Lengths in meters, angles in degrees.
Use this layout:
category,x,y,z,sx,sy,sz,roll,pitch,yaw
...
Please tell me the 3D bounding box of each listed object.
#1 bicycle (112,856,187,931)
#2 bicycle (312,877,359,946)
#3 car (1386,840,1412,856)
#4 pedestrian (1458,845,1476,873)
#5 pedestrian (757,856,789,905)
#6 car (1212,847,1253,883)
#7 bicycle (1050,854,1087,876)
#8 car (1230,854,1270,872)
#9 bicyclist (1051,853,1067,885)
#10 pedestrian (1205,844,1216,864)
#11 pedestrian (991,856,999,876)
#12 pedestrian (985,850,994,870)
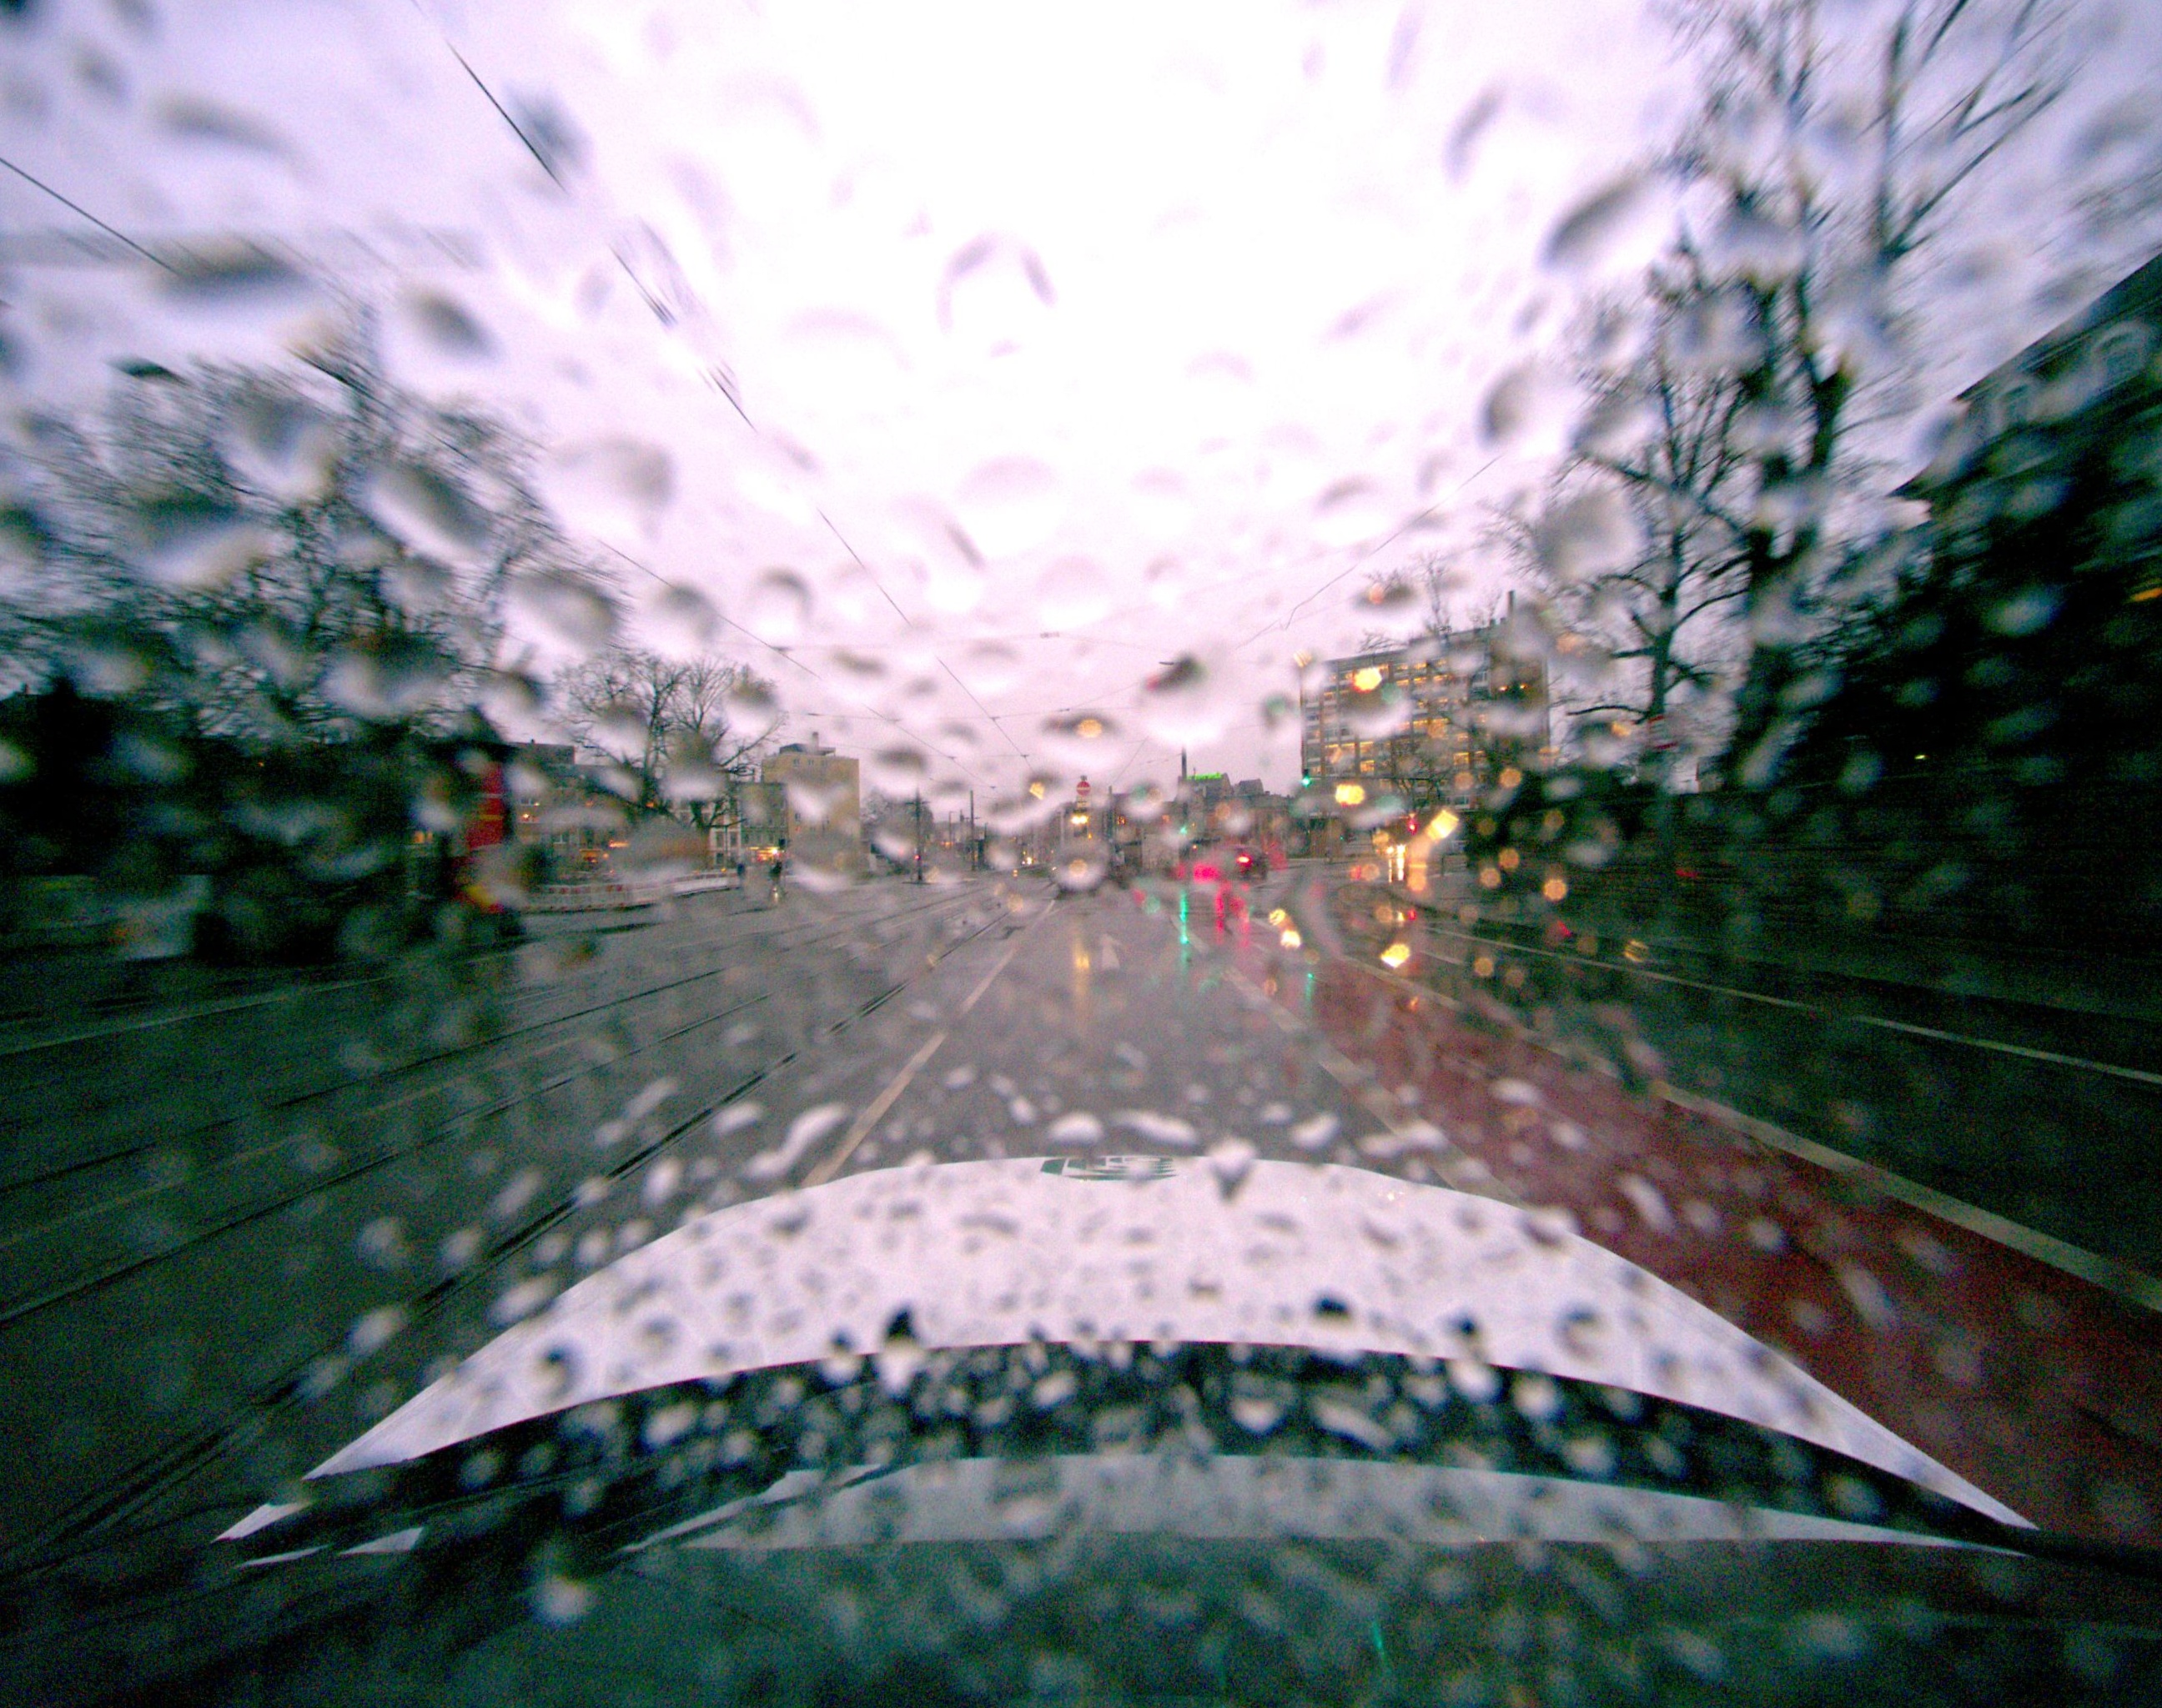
category,x,y,z,sx,sy,sz,roll,pitch,yaw
bicycle,-22.214,0.897,19.474,0.717,1.689,2.402,1,-1,-38
bicycle,-20.090,1.495,21.974,0.717,1.689,2.402,1,-1,-38
car,36.214,-0.718,92.626,1.737,1.662,4.559,-3,0,35
pedestrian,24.048,0.316,50.736,0.798,1.684,1.162,-3,0,19
pedestrian,-15.167,1.272,40.131,0.984,2.370,1.071,0,-1,31
car,8.269,0.559,44.190,1.634,1.818,4.020,0,1,19
bicycle,-0.682,0.599,45.233,0.620,1.074,2.223,0,2,43
car,22.749,1.186,109.655,2.269,2.281,4.981,1,-1,-38
bicyclist,-1.220,0.823,44.664,0.604,1.768,0.592,0,-1,45
pedestrian,10.903,0.027,68.688,0.666,1.674,0.735,0,-1,39
pedestrian,-7.902,1.132,74.792,0.709,1.806,0.717,0,-1,1
pedestrian,-8.137,0.562,72.575,0.709,1.757,0.717,0,-1,1
